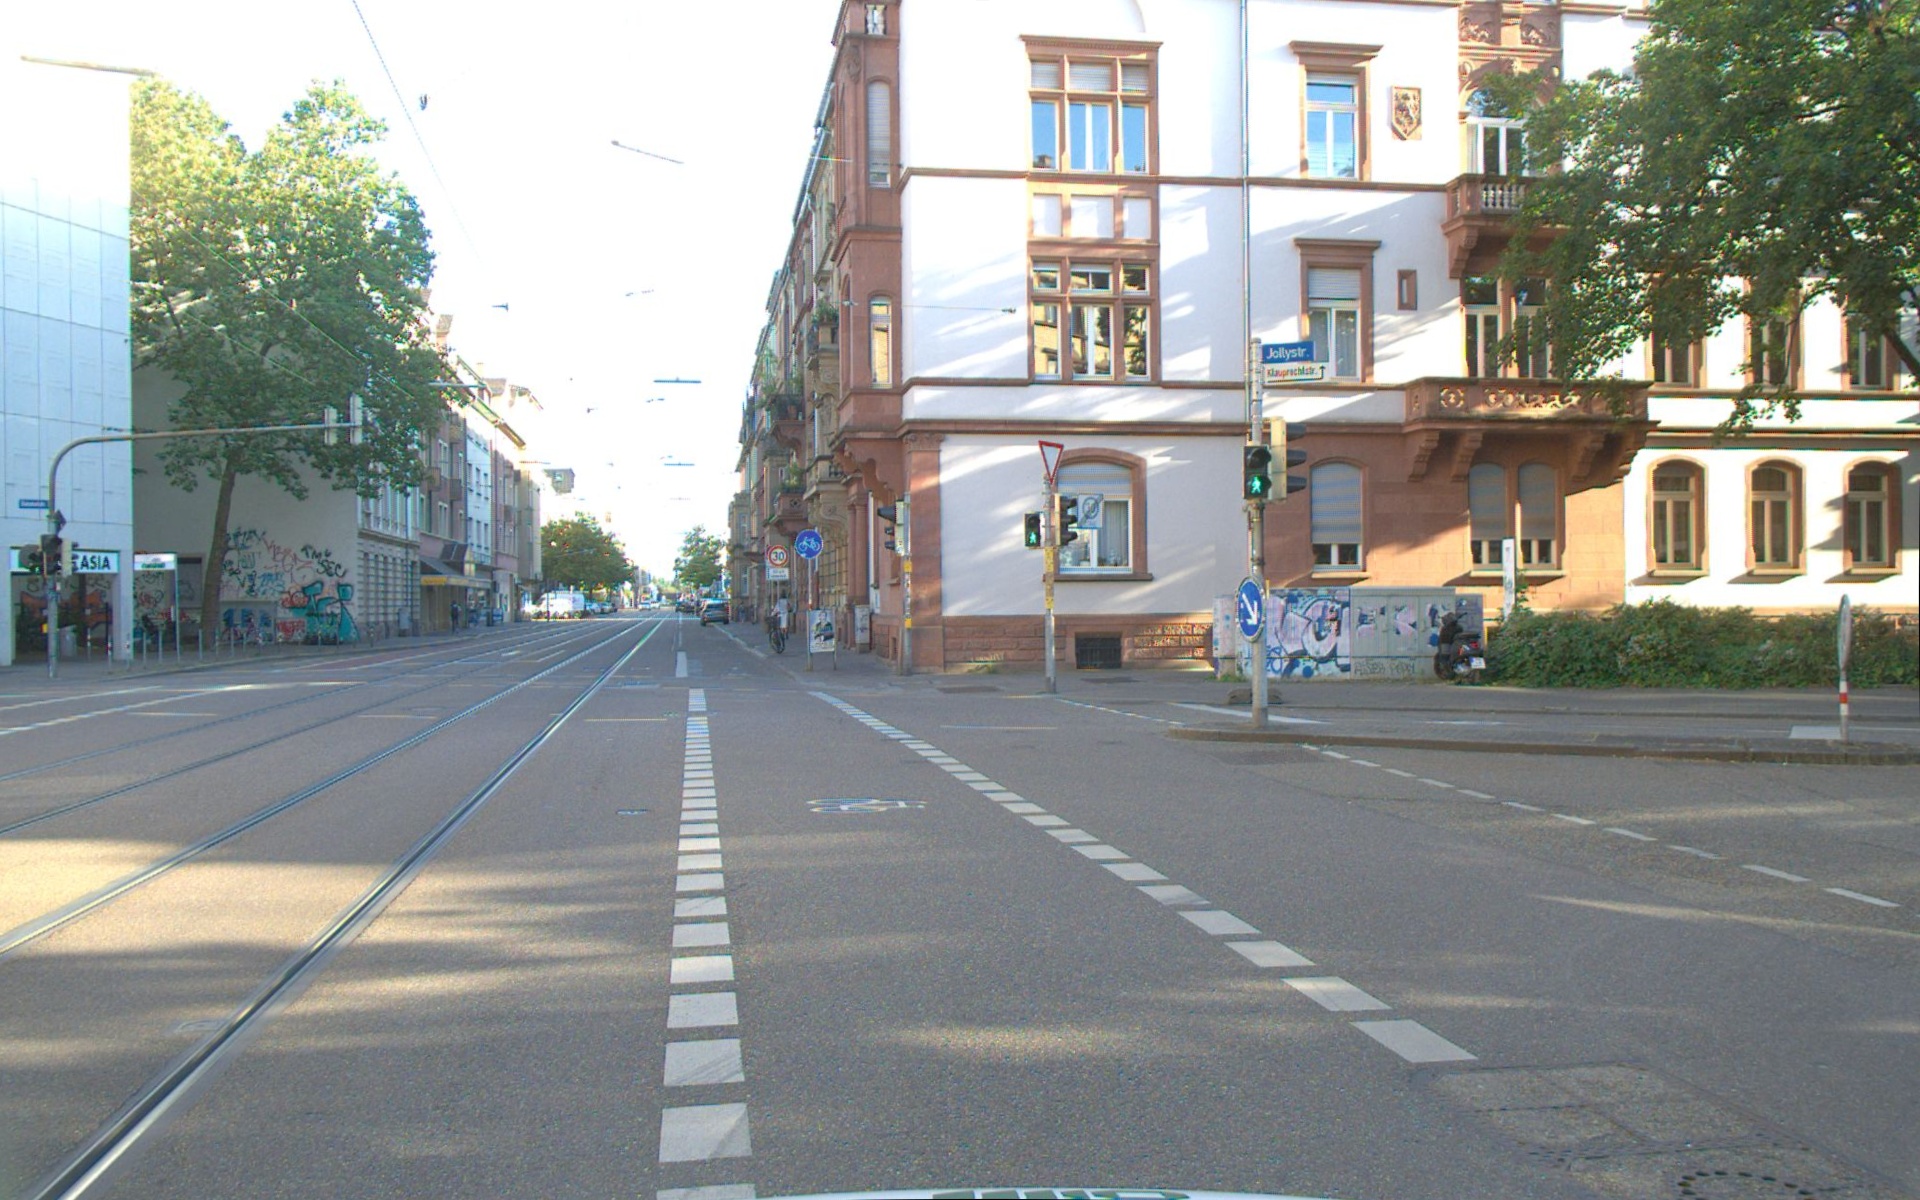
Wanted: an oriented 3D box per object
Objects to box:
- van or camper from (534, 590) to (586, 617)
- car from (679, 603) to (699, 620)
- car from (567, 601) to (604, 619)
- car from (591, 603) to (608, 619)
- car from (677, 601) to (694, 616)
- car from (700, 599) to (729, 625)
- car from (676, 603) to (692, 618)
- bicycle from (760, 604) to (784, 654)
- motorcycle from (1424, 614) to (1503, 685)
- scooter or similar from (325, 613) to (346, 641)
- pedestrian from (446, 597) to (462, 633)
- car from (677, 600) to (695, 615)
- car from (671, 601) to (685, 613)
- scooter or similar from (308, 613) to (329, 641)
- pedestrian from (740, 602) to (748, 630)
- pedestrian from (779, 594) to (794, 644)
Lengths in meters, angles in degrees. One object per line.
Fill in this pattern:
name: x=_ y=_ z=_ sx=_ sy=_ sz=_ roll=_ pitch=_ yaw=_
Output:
van or camper: x=-38.982 y=0.362 z=161.271 sx=4.608 sy=2.608 sz=1.970 roll=0 pitch=-1 yaw=-41
car: x=-27.516 y=1.158 z=168.060 sx=1.957 sy=1.758 sz=3.990 roll=0 pitch=-1 yaw=-10
car: x=-44.413 y=1.173 z=196.155 sx=3.953 sy=2.049 sz=1.976 roll=-1 pitch=0 yaw=-35
car: x=-48.462 y=1.481 z=222.339 sx=1.957 sy=2.049 sz=3.990 roll=-1 pitch=0 yaw=-10
car: x=-32.892 y=1.021 z=198.023 sx=1.957 sy=1.758 sz=3.990 roll=0 pitch=-1 yaw=-10
car: x=-16.992 y=0.819 z=114.421 sx=1.914 sy=1.713 sz=3.992 roll=-1 pitch=0 yaw=-8
car: x=-34.281 y=1.297 z=205.571 sx=1.957 sy=1.758 sz=3.990 roll=0 pitch=-1 yaw=-10
bicycle: x=-5.256 y=0.789 z=46.231 sx=0.641 sy=1.347 sz=2.173 roll=-1 pitch=0 yaw=-7
motorcycle: x=8.508 y=0.822 z=28.021 sx=0.704 sy=1.037 sz=2.288 roll=-1 pitch=2 yaw=2
scooter or similar: x=-24.050 y=1.035 z=63.726 sx=0.507 sy=1.076 sz=1.474 roll=-1 pitch=0 yaw=-11
pedestrian: x=-25.078 y=0.746 z=81.979 sx=0.688 sy=1.759 sz=0.646 roll=-1 pitch=0 yaw=-10
car: x=-31.735 y=0.852 z=191.622 sx=1.957 sy=1.758 sz=3.990 roll=0 pitch=-1 yaw=-10
car: x=-39.794 y=1.017 z=233.501 sx=1.957 sy=1.758 sz=3.990 roll=0 pitch=-1 yaw=-10
scooter or similar: x=-24.662 y=1.042 z=63.582 sx=0.507 sy=1.064 sz=1.474 roll=-1 pitch=0 yaw=-11
pedestrian: x=-14.024 y=1.062 z=107.334 sx=0.534 sy=1.811 sz=0.748 roll=-1 pitch=0 yaw=-9
pedestrian: x=-6.369 y=0.705 z=60.710 sx=0.534 sy=1.811 sz=0.503 roll=-1 pitch=0 yaw=-9
